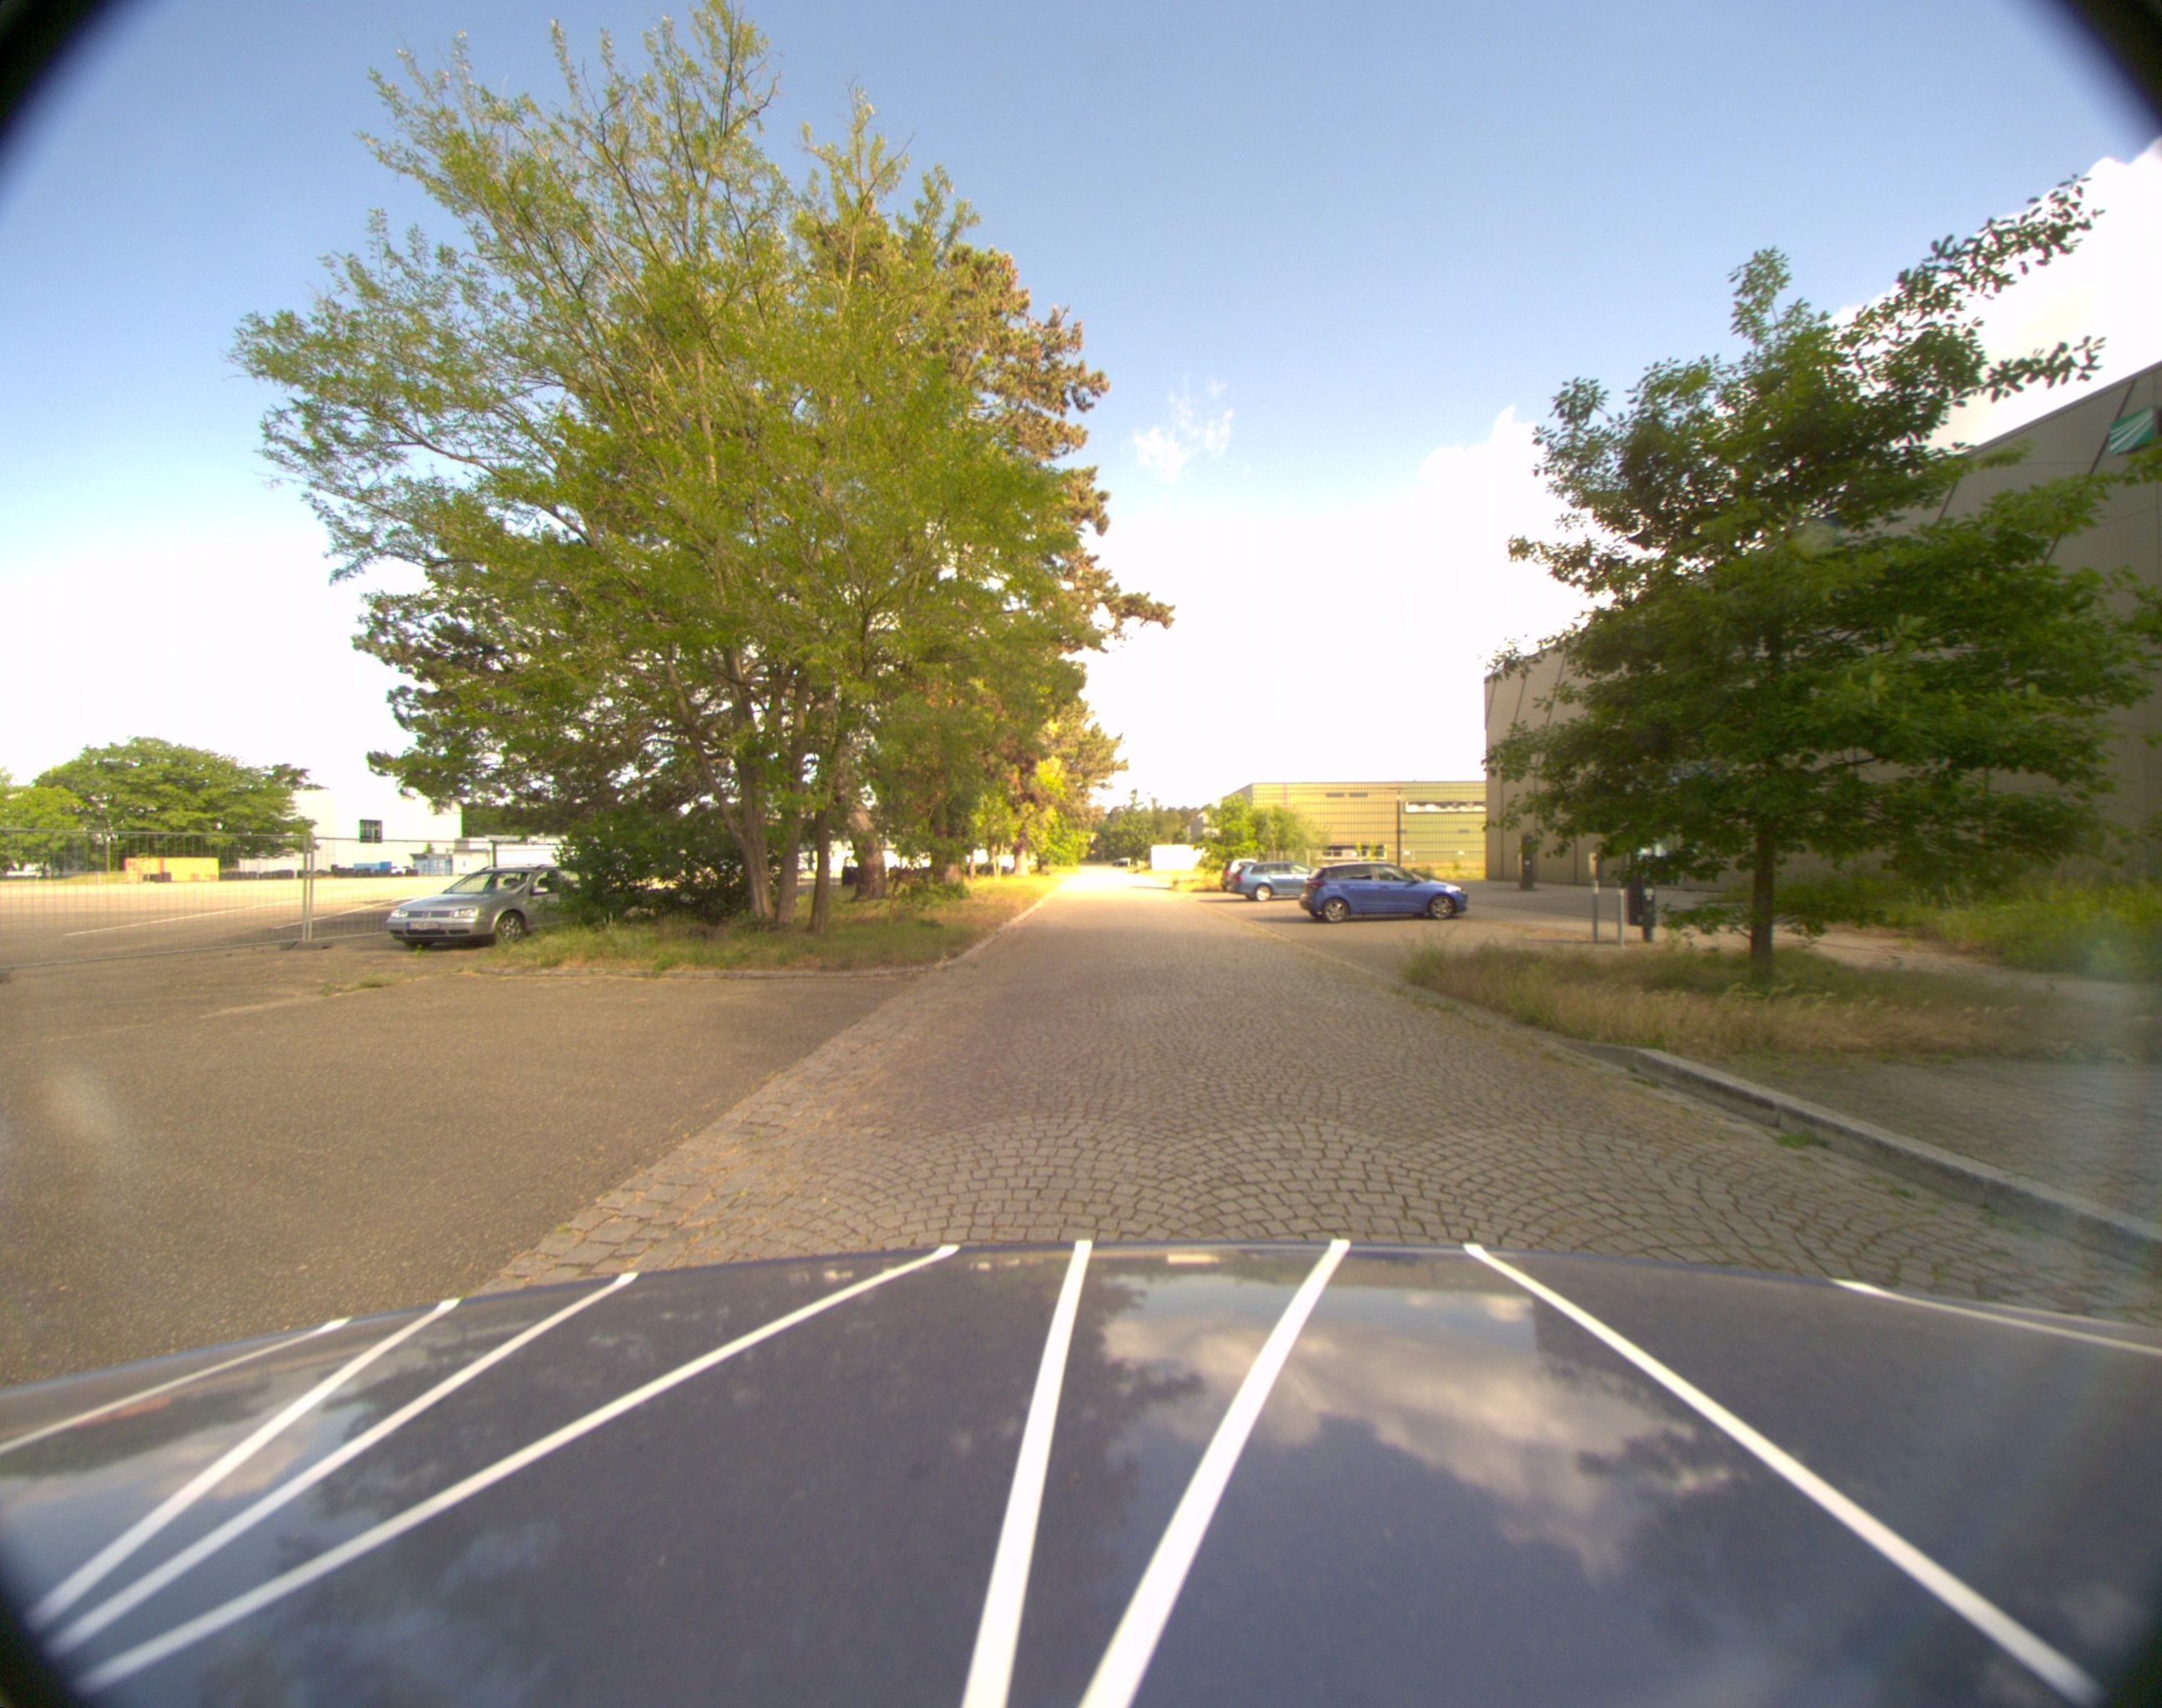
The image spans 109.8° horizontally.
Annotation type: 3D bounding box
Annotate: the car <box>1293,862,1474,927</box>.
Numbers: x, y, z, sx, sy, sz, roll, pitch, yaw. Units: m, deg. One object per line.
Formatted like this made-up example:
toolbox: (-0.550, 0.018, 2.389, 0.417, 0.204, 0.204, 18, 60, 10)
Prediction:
car: (7.608, 0.991, 19.400, 3.917, 1.459, 1.735, -2, 0, 4)

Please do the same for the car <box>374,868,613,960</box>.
car: (-10.983, 1.031, 14.626, 1.578, 1.435, 3.986, 0, 0, -2)

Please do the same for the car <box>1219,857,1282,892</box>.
car: (8.051, 0.969, 36.242, 2.652, 1.559, 1.482, -2, 0, 0)

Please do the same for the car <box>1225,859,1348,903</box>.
car: (7.752, 0.997, 28.892, 4.179, 1.465, 1.734, -2, 0, -1)
